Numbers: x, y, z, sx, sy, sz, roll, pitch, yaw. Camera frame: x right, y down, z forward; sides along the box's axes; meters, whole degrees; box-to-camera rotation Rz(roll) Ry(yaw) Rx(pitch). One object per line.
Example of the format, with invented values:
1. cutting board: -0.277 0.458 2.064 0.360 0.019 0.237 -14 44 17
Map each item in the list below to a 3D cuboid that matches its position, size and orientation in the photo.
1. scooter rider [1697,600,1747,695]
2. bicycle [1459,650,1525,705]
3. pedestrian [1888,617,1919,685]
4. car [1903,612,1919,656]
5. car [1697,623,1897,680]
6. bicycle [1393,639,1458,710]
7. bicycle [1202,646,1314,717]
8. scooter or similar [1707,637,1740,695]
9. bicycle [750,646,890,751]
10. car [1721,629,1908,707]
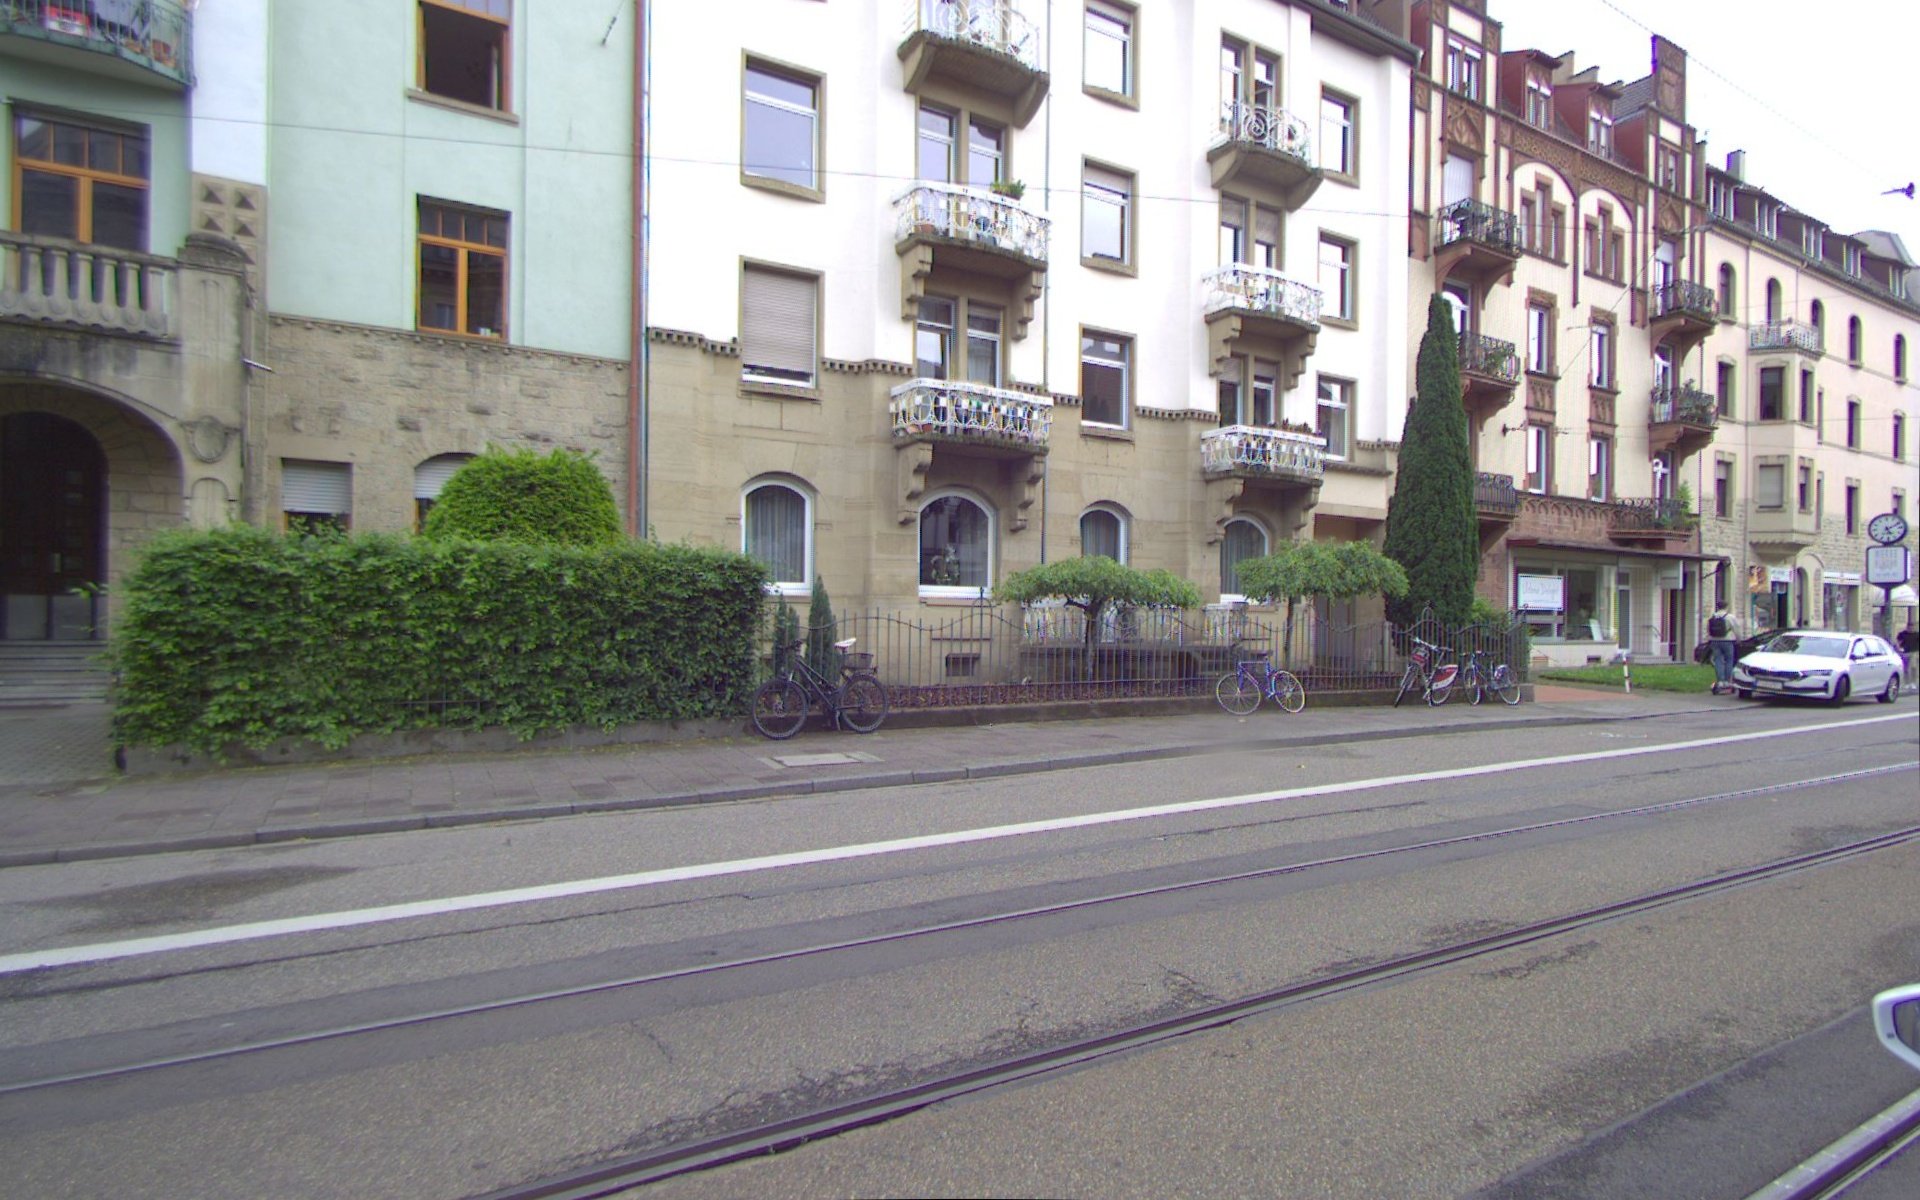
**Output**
1. scooter rider: 16.888 1.041 22.267 0.749 2.040 0.639 1 -1 -30
2. bicycle: 9.589 1.377 18.084 1.498 0.950 0.330 1 -1 -31
3. pedestrian: 26.451 1.405 28.058 0.875 1.868 0.662 1 -1 -41
4. car: 54.242 1.887 54.689 2.142 2.449 5.382 0 -1 18
5. car: 25.923 1.553 31.263 1.861 1.389 4.397 1 1 -34
6. bicycle: 7.781 1.219 16.747 1.613 1.116 0.381 1 -1 -42
7. bicycle: 4.441 1.202 14.946 1.640 0.938 0.358 0 -19 -28
8. scooter or similar: 16.899 1.457 22.231 0.942 1.250 0.230 1 -1 -30
9. bicycle: -1.546 1.073 11.207 1.528 1.098 0.358 1 -1 -31
10. car: 18.398 1.392 21.571 4.557 1.504 1.738 1 -1 -31
